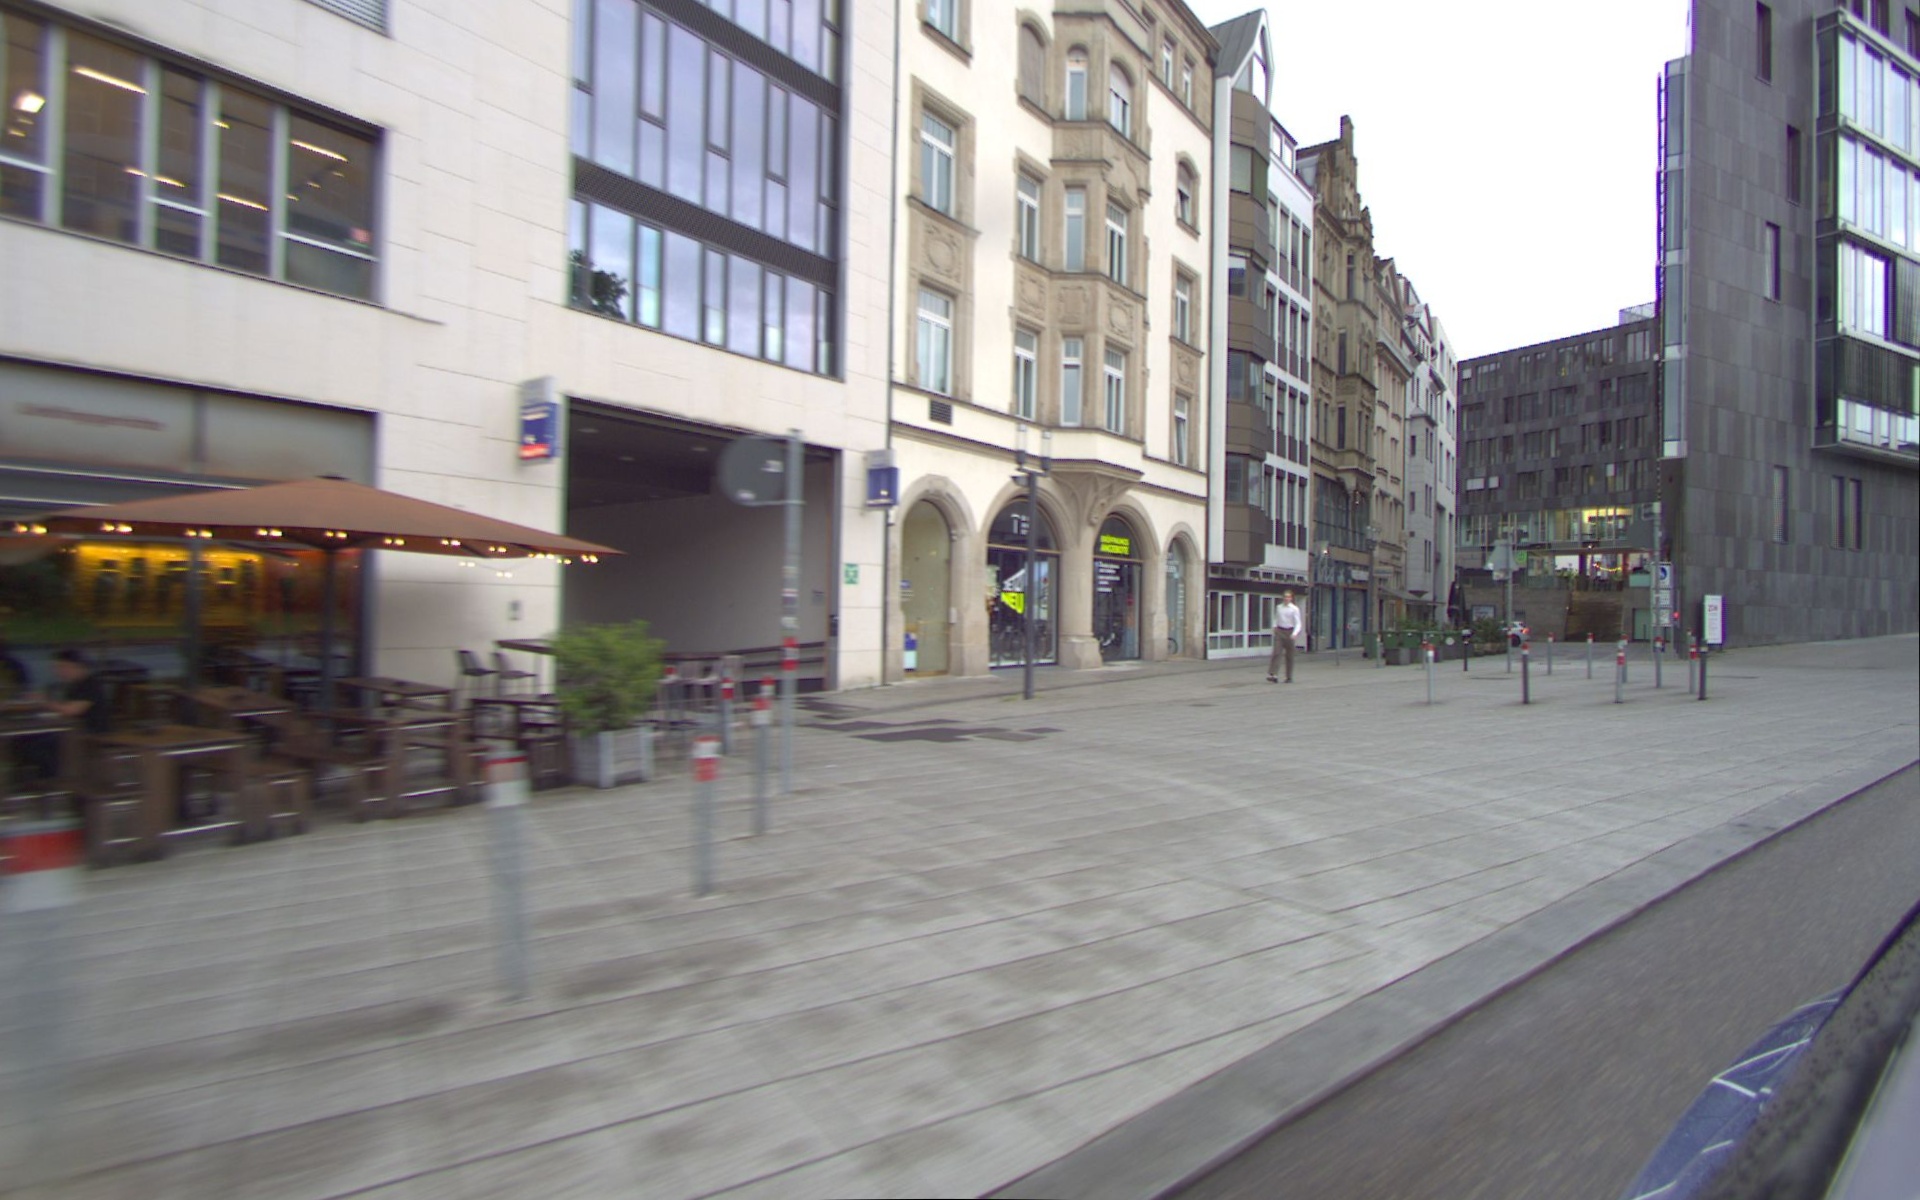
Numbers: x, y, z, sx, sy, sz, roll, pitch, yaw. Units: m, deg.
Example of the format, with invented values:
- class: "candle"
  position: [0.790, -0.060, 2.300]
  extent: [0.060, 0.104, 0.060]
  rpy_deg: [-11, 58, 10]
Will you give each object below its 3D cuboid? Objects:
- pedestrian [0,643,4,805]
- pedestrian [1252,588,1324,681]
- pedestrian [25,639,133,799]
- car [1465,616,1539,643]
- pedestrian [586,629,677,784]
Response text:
- class: "pedestrian"
  position: [-8.442, 1.047, 8.416]
  extent: [0.625, 1.343, 0.627]
  rpy_deg: [-3, -2, 38]
- class: "pedestrian"
  position: [6.802, 0.698, 20.975]
  extent: [1.228, 1.861, 0.872]
  rpy_deg: [-1, -2, -42]
- class: "pedestrian"
  position: [-7.881, 1.032, 9.061]
  extent: [0.625, 1.343, 0.627]
  rpy_deg: [-3, -2, 38]
- class: "car"
  position: [33.794, 1.831, 63.189]
  extent: [4.031, 1.639, 1.687]
  rpy_deg: [-1, -1, 29]
- class: "pedestrian"
  position: [-3.067, 0.957, 9.428]
  extent: [0.623, 1.343, 0.776]
  rpy_deg: [0, -2, -32]
